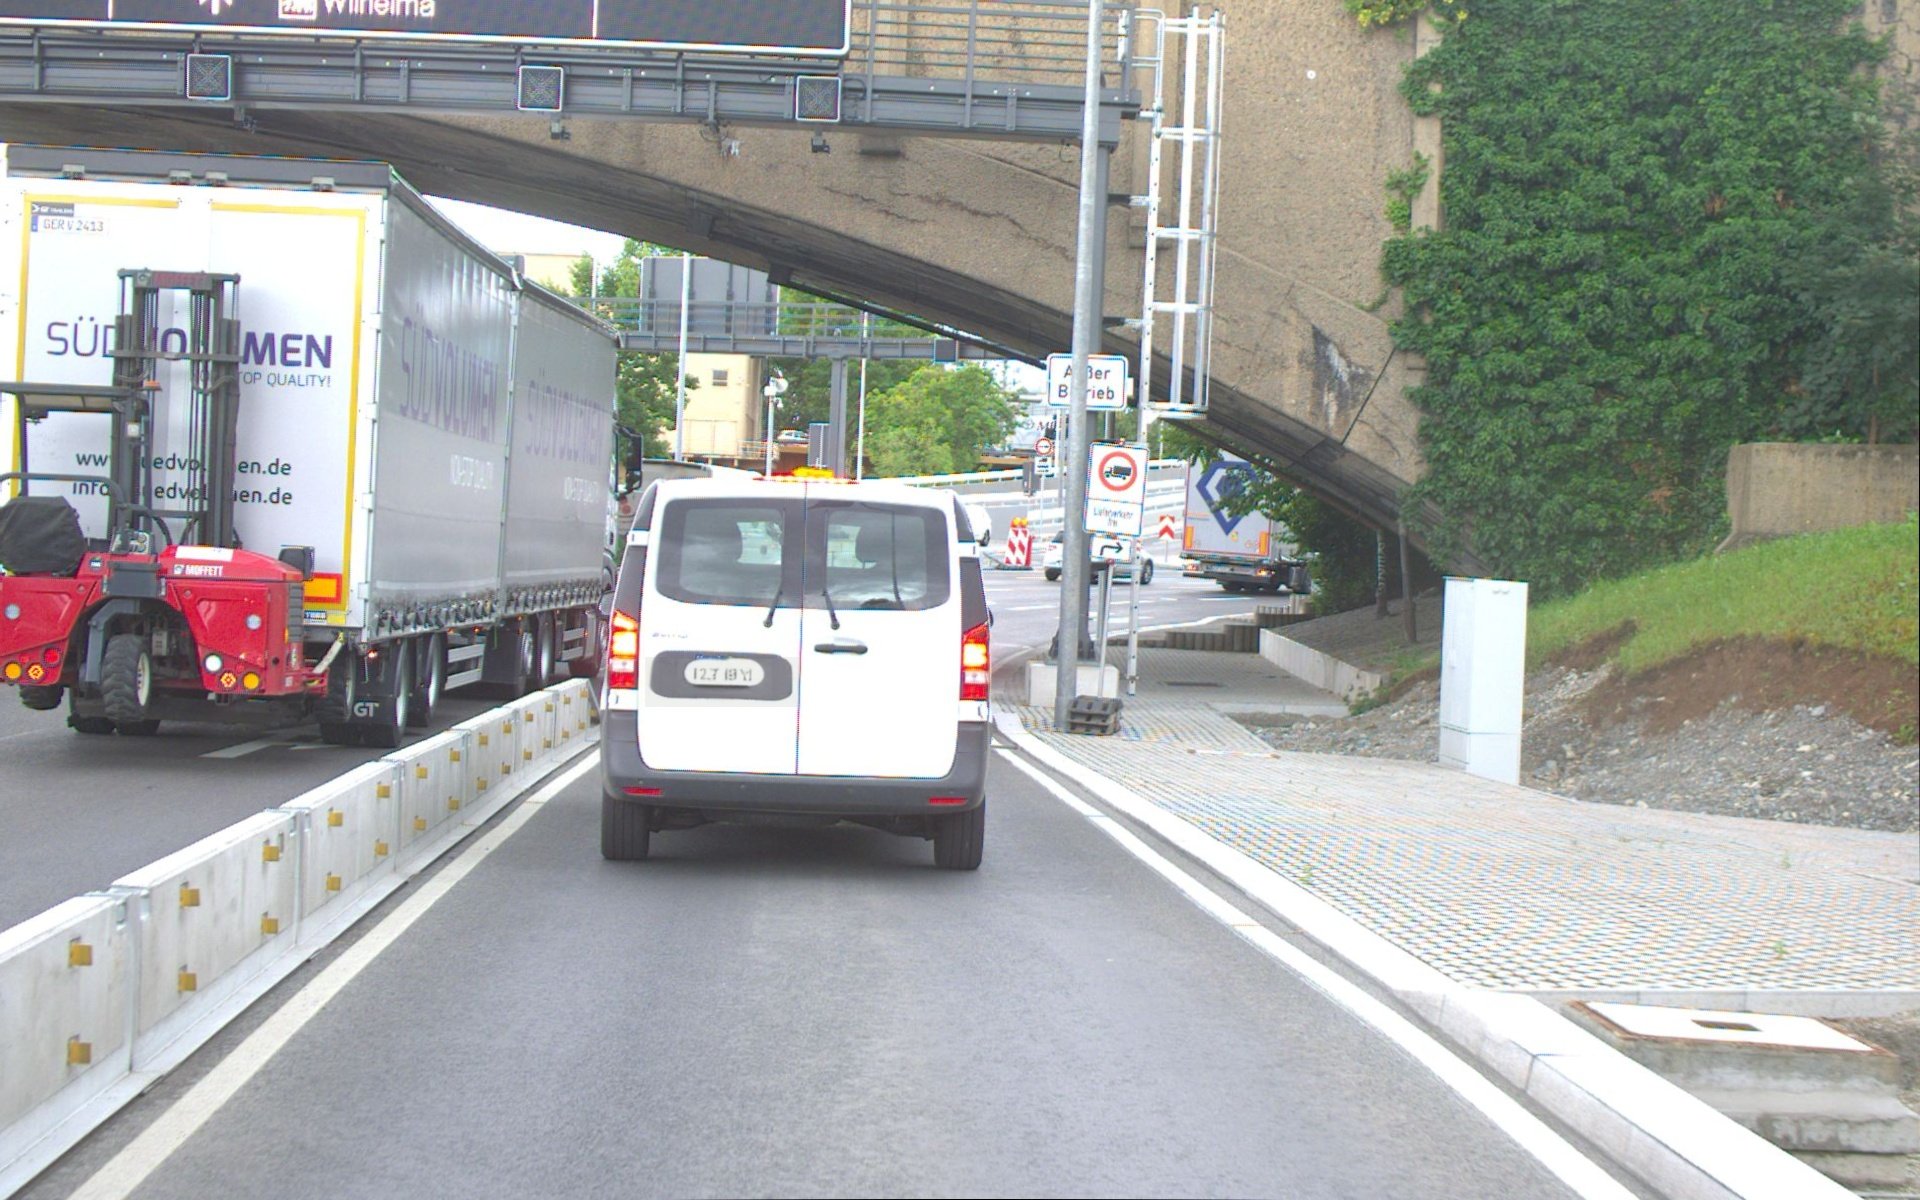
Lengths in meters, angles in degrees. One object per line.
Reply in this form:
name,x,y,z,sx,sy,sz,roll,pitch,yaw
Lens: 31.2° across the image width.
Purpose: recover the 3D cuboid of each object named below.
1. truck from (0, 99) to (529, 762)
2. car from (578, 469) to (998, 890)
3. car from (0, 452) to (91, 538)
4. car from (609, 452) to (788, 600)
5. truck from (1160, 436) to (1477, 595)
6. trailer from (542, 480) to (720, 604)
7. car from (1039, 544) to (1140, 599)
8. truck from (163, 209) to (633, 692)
truck,-5.367,-1.082,26.523,2.917,4.003,10.201,3,0,-2
car,-0.824,0.317,18.101,1.876,1.884,4.753,1,1,-1
car,-16.323,-1.753,58.284,1.886,1.327,4.256,-1,0,3
car,-4.896,-1.420,65.197,1.994,2.533,5.172,5,2,10
truck,10.219,-2.189,94.957,3.321,3.796,16.571,5,2,24
trailer,-5.759,-1.040,60.644,1.994,1.950,4.077,5,2,10
car,3.424,-0.774,90.728,1.374,1.371,3.457,3,2,25
truck,-5.557,-1.311,36.370,2.987,4.162,11.240,3,0,0
